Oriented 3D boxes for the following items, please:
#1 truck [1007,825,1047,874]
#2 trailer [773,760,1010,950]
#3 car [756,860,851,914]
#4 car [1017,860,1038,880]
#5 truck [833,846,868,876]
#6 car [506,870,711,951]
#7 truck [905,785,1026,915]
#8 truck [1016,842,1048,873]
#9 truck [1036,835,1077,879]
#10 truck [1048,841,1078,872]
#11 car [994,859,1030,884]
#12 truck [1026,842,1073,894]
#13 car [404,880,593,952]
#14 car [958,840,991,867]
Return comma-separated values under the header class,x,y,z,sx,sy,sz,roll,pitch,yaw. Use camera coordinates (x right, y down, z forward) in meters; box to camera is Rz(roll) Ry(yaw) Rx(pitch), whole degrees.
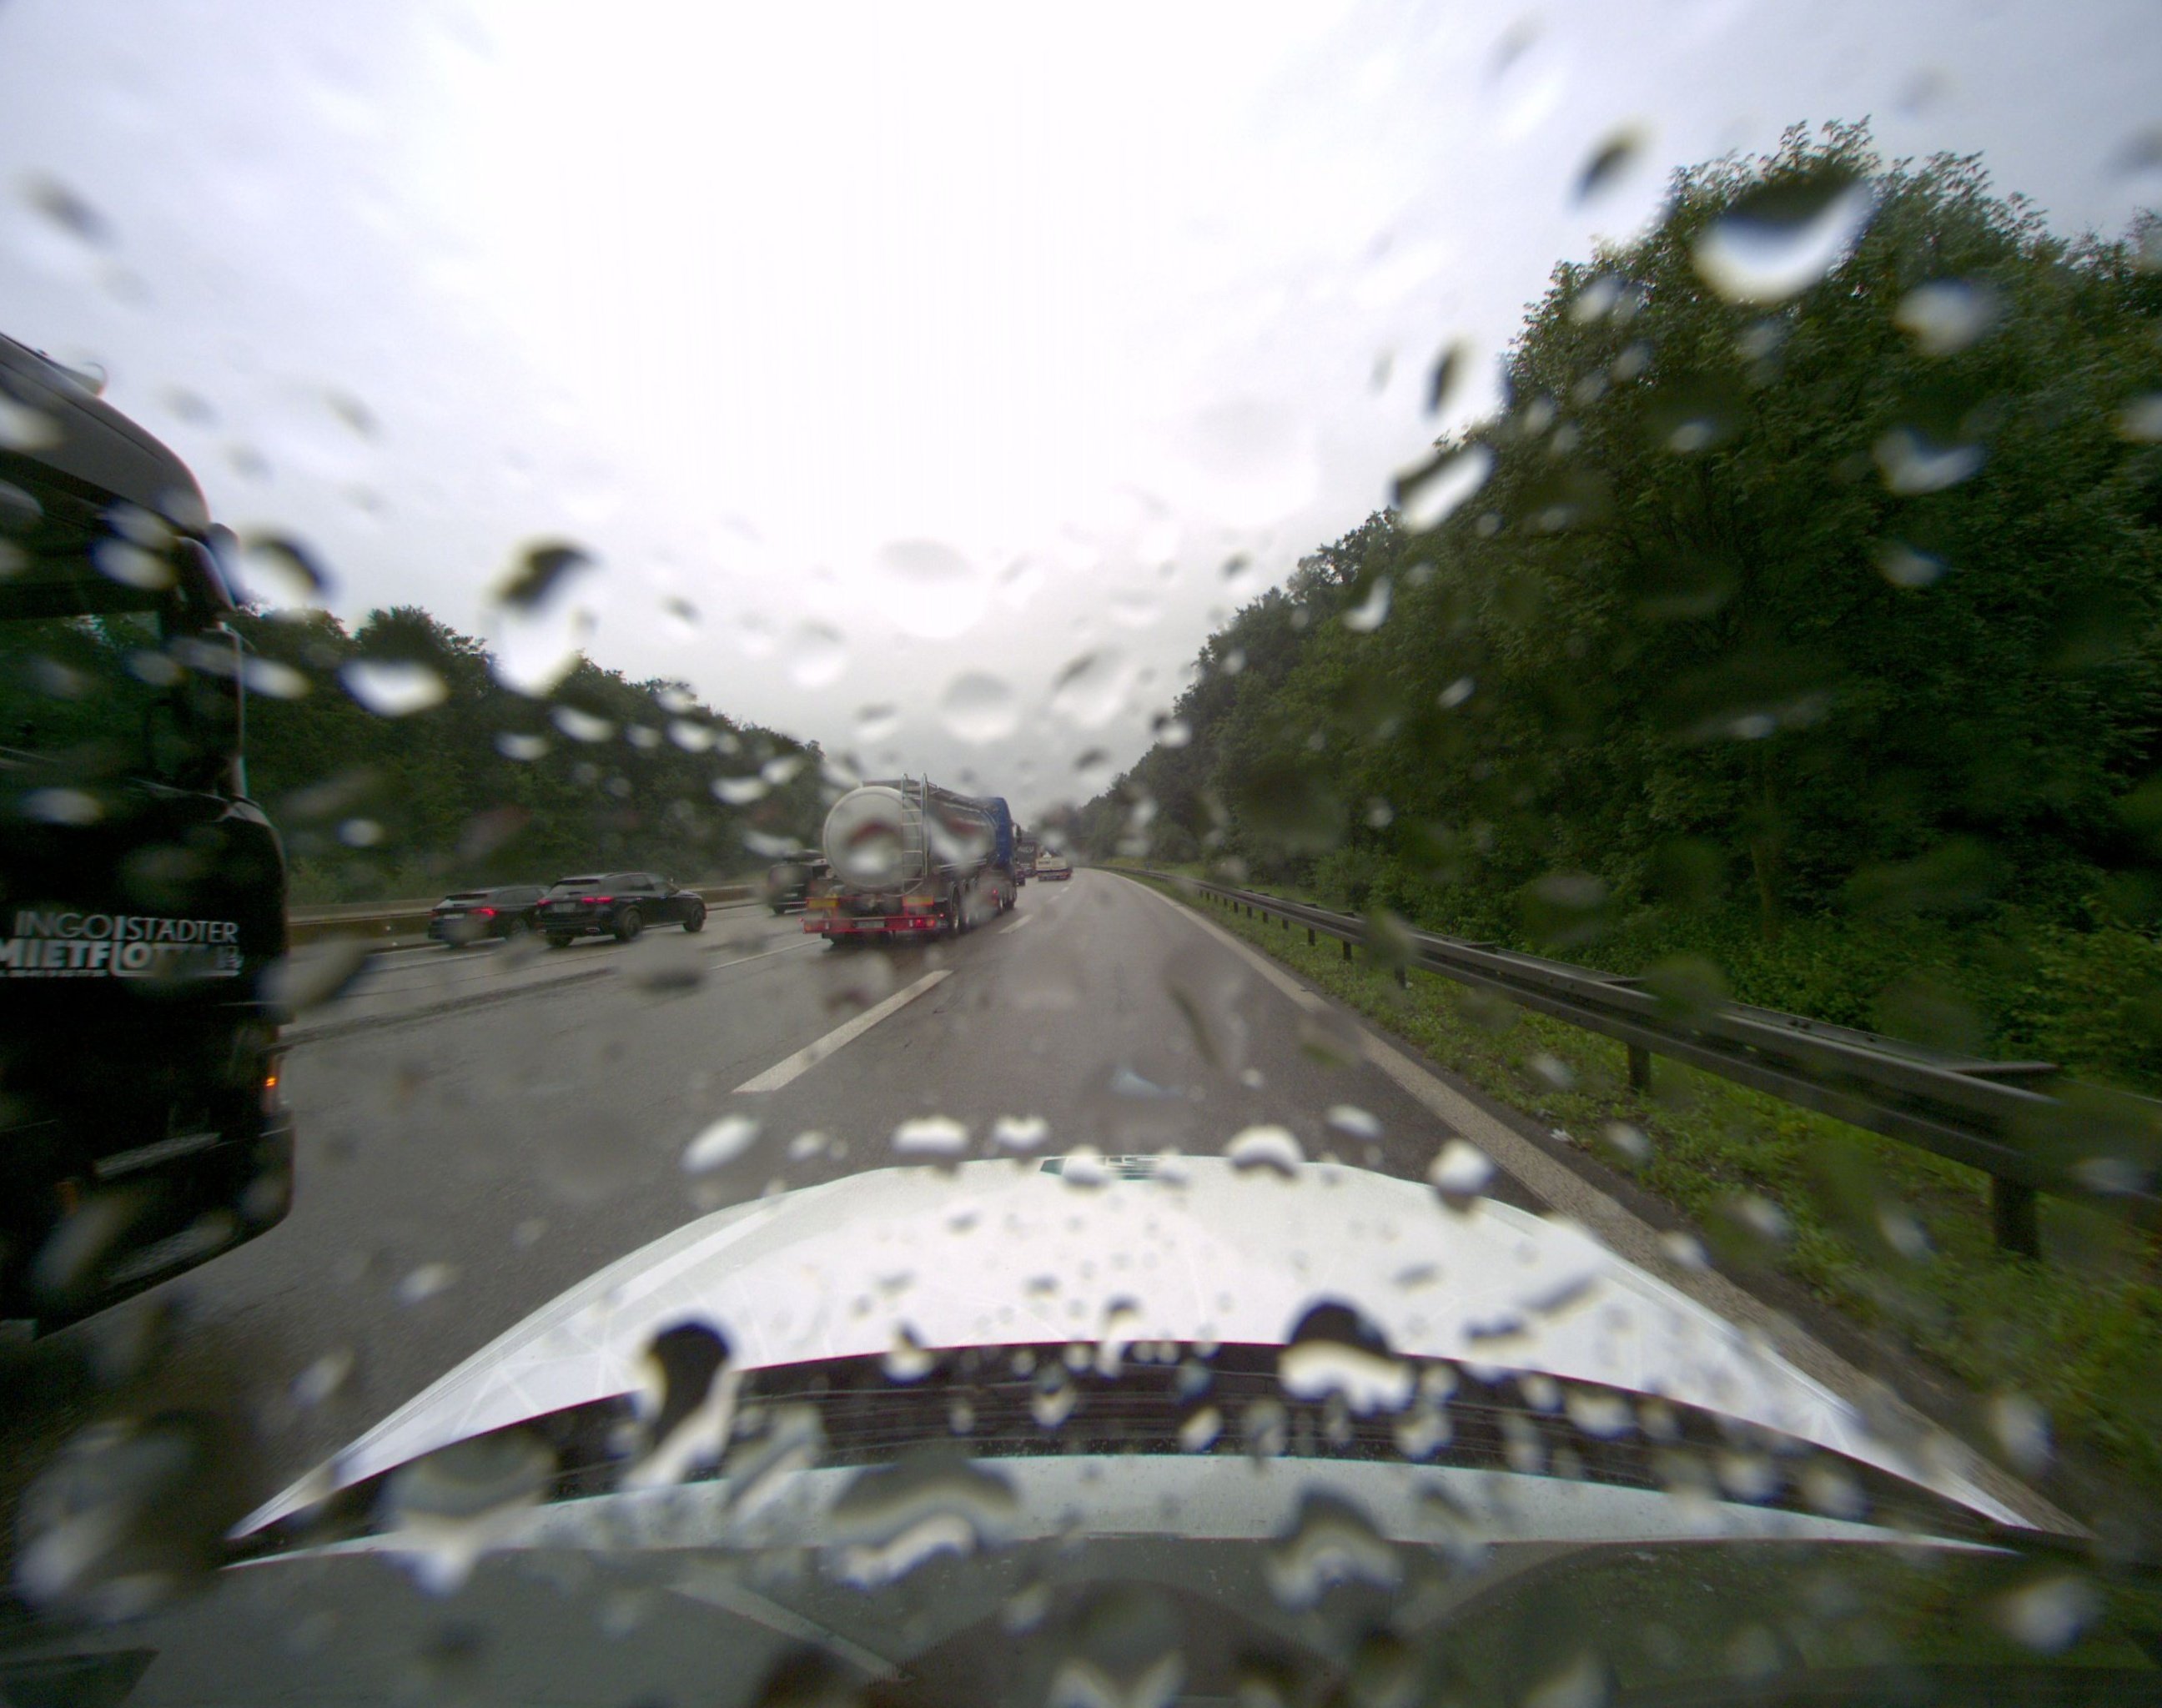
class,x,y,z,sx,sy,sz,roll,pitch,yaw
truck,-6.579,-0.391,100.538,3.740,5.500,10.174,2,-2,2
trailer,-3.810,0.047,19.524,2.862,3.289,10.083,-2,0,2
car,-10.293,1.175,30.555,1.986,1.798,4.155,-2,-1,1
car,-5.662,1.717,86.603,1.786,2.014,4.001,2,-2,2
truck,-31.252,0.914,110.903,2.441,3.948,7.241,-1,0,2
car,-11.123,1.239,19.671,1.986,1.594,4.809,-2,0,2
truck,-3.541,-0.102,26.312,2.865,3.693,5.059,-2,-1,2
truck,-6.977,0.639,117.550,3.563,4.096,10.881,-1,-2,1
truck,-2.542,0.464,88.849,3.493,4.269,10.608,2,-2,3
truck,-2.551,0.486,117.515,3.741,3.971,11.059,2,-2,1
car,-4.761,1.239,56.721,1.986,1.636,4.000,2,-2,1
truck,-2.643,1.194,72.878,3.589,4.105,11.556,-2,-1,0
car,-14.884,1.527,21.137,1.875,1.508,4.002,-2,0,2
car,-8.162,-0.018,62.787,1.790,1.838,4.001,2,-2,2
